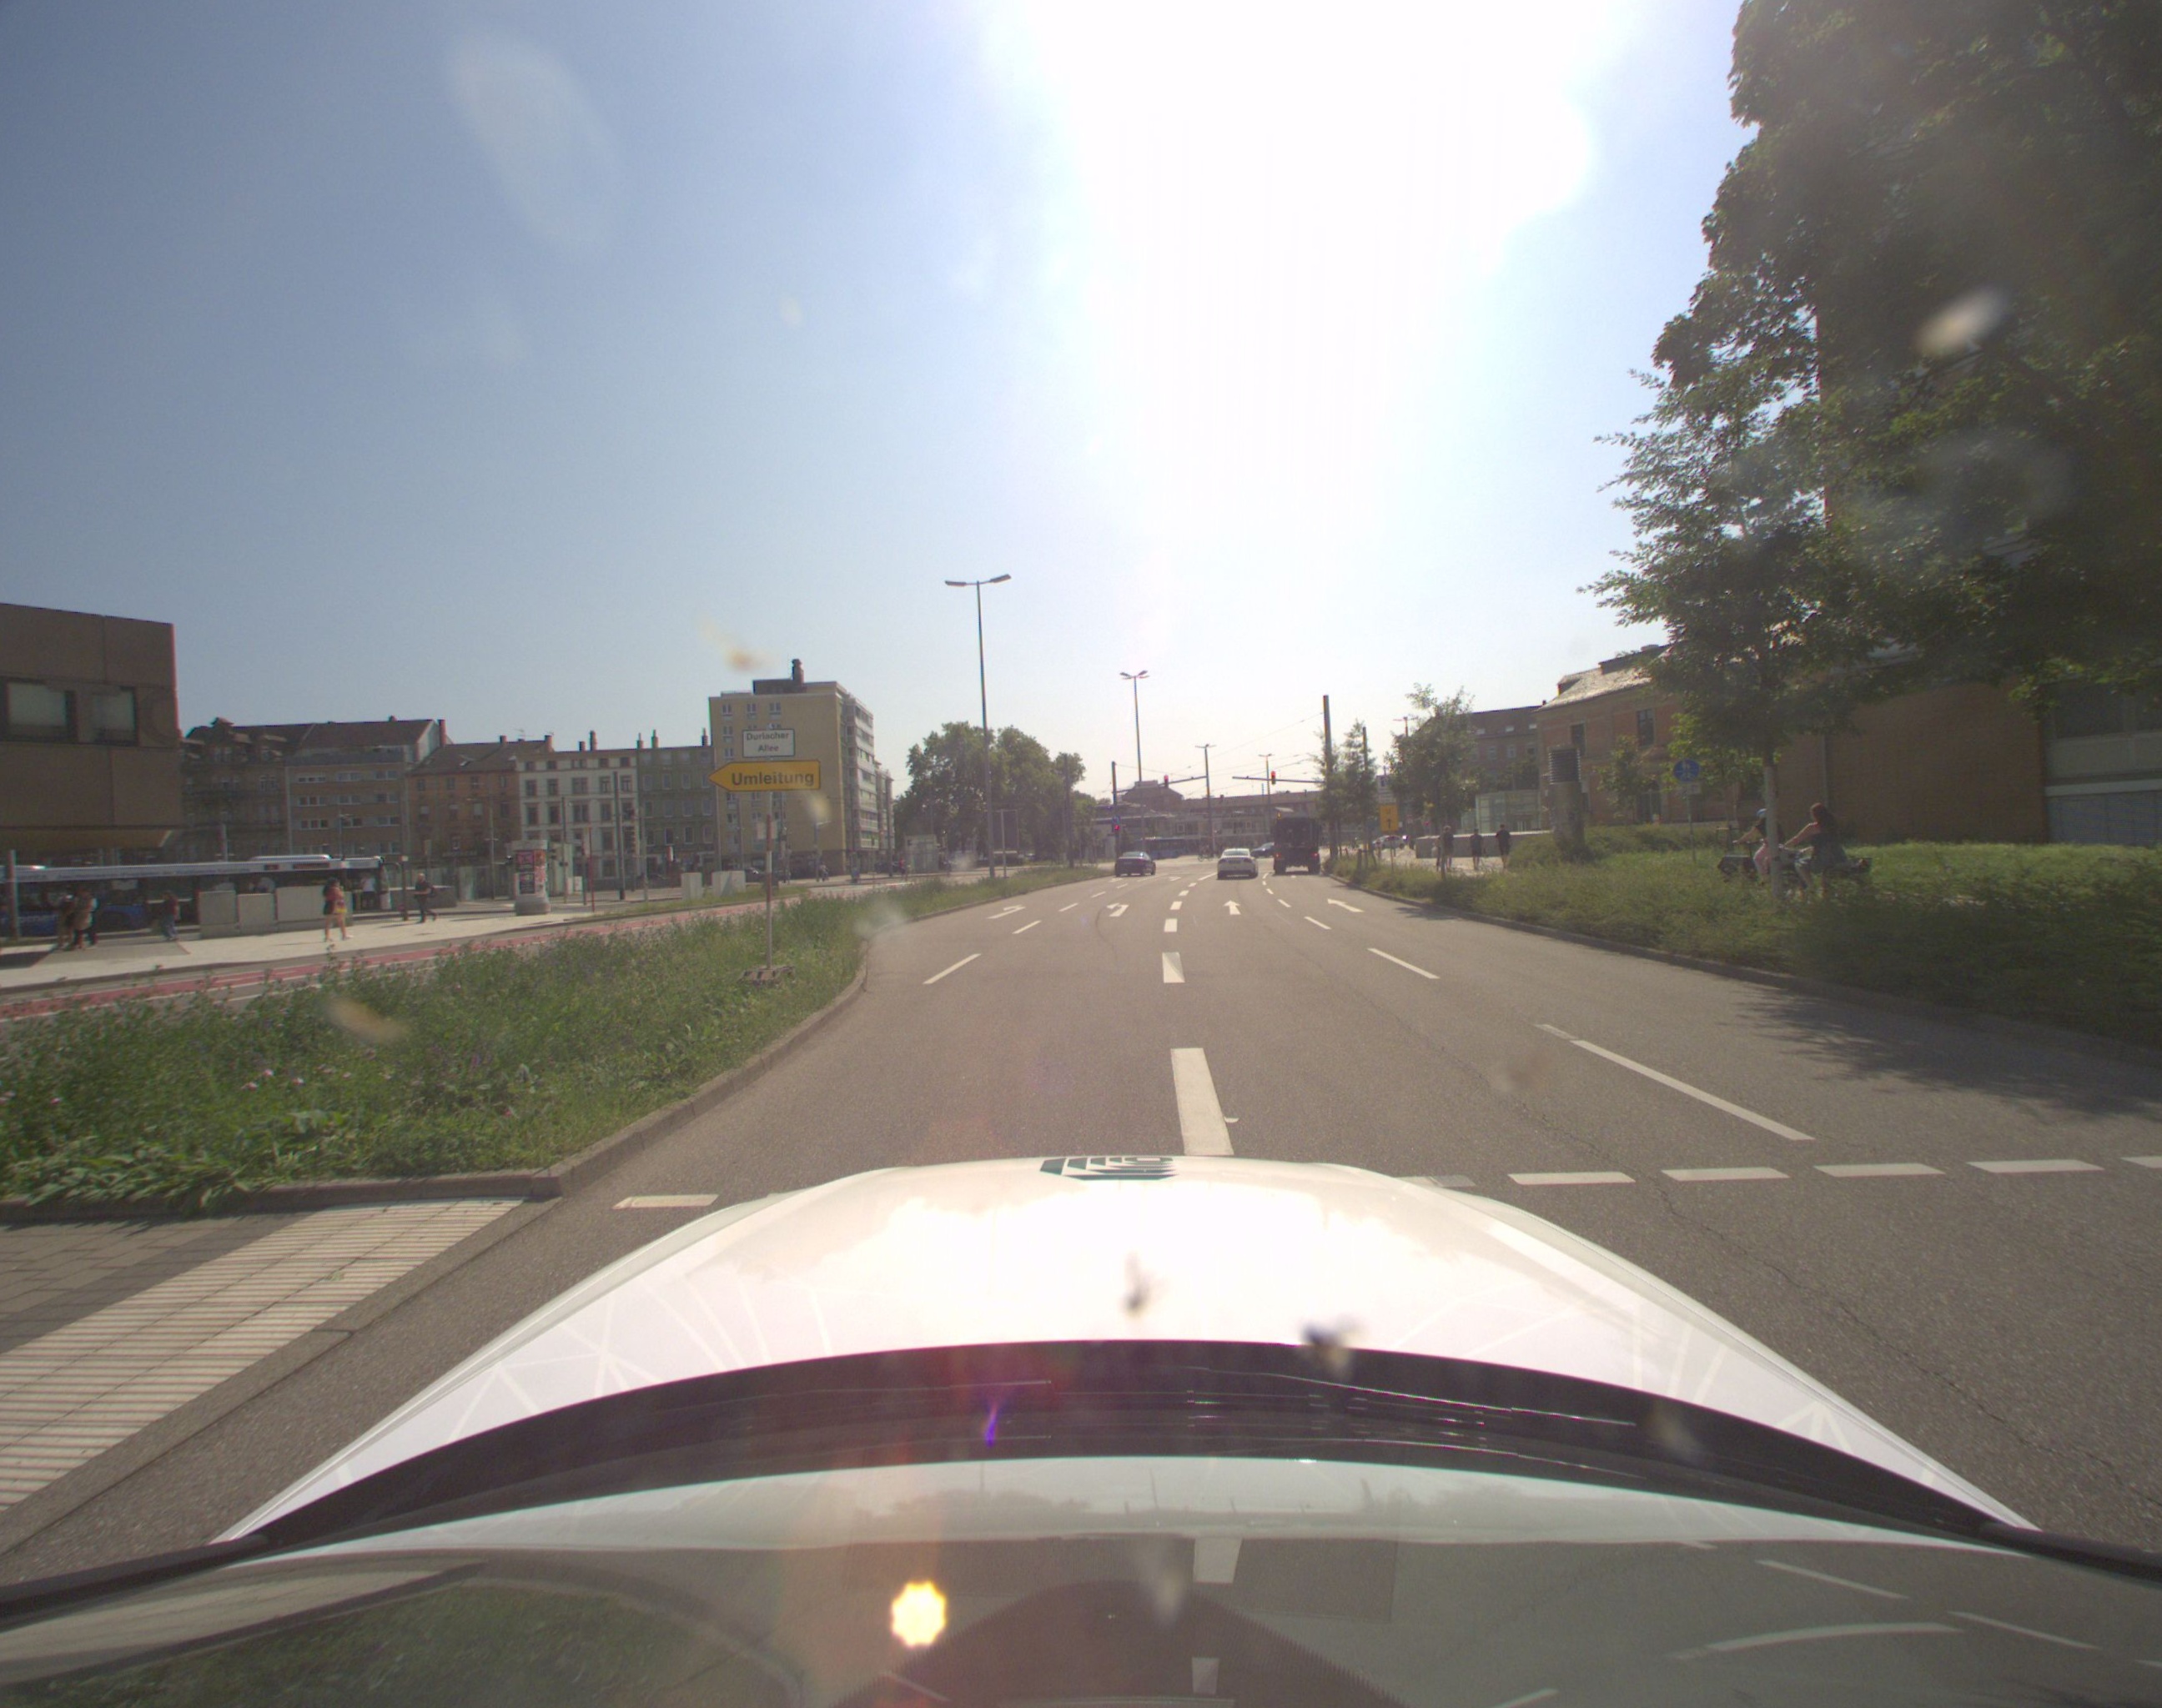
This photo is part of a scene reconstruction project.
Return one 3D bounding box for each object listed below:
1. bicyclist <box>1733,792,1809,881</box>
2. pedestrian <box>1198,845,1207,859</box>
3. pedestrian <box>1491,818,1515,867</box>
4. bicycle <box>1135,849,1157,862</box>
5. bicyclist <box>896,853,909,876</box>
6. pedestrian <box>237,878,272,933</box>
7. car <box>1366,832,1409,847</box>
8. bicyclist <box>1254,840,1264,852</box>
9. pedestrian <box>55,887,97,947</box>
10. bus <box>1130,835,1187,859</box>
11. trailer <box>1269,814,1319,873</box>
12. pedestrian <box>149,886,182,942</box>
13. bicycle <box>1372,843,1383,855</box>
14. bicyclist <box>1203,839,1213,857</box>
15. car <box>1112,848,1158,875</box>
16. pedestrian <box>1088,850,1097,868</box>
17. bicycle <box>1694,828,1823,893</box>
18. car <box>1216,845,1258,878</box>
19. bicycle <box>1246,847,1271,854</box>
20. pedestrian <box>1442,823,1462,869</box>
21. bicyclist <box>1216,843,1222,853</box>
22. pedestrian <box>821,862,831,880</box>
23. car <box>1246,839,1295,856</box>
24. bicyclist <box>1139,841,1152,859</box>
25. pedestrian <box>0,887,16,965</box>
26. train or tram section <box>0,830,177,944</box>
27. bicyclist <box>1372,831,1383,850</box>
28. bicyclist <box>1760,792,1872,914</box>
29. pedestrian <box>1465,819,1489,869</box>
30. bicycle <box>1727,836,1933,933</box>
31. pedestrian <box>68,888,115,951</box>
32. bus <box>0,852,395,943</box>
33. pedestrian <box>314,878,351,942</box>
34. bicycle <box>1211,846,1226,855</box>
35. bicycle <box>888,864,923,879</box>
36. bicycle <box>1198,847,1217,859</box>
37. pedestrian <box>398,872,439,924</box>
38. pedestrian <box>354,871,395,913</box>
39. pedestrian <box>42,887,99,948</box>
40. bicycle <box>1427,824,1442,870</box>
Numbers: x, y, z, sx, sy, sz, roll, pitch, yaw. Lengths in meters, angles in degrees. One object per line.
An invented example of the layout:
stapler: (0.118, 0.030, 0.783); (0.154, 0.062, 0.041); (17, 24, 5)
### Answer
bicyclist: (12.256, -0.307, 14.489); (0.547, 1.496, 0.803); (-5, 0, -3)
pedestrian: (15.322, -0.245, 102.468); (0.776, 1.752, 0.814); (-3, 0, 29)
pedestrian: (17.219, -0.474, 33.237); (0.770, 1.973, 0.758); (-3, 0, 28)
bicycle: (6.042, 0.126, 76.437); (0.975, 1.178, 2.813); (-3, 0, -19)
bicyclist: (-13.160, 0.763, 60.075); (0.837, 1.642, 0.606); (-3, 0, -4)
pedestrian: (-27.181, 1.696, 26.779); (0.688, 1.763, 0.554); (-3, 0, 27)
car: (33.720, -1.596, 89.577); (4.056, 1.425, 1.769); (-3, 0, -12)
bicyclist: (22.082, -1.012, 101.107); (0.902, 1.501, 0.863); (-3, 0, -5)
pedestrian: (-27.686, 1.723, 22.444); (0.511, 1.614, 0.487); (-3, 0, -27)
bus: (10.930, -1.069, 112.723); (3.024, 2.931, 11.928); (-3, 0, 30)
trailer: (11.891, -0.609, 45.469); (2.445, 3.007, 6.351); (-1, 1, 15)
pedestrian: (-27.656, 1.803, 24.598); (0.485, 1.614, 0.575); (-3, 0, 37)
bicycle: (20.890, -0.383, 57.317); (0.669, 0.776, 2.138); (-3, 0, 19)
bicyclist: (12.549, -0.591, 80.618); (0.623, 1.650, 0.684); (-3, 0, -44)
car: (3.178, 0.385, 47.247); (1.744, 1.404, 3.999); (-2, 1, 18)
pedestrian: (0.825, 0.365, 58.069); (0.595, 1.268, 0.504); (-3, 2, -5)
bicycle: (12.274, 0.107, 14.841); (0.555, 1.060, 2.002); (-4, 0, -3)
car: (7.857, 0.340, 40.731); (1.745, 1.455, 4.443); (-2, 1, 14)
bicycle: (22.055, -0.430, 101.109); (2.930, 0.727, 0.863); (-3, 0, -6)
pedestrian: (15.365, -0.352, 33.734); (0.654, 1.860, 0.798); (-3, 0, 25)
bicyclist: (16.705, -0.748, 98.774); (0.498, 1.188, 0.510); (-3, 0, 30)
pedestrian: (-24.081, 1.613, 76.818); (0.647, 1.632, 0.813); (-3, 0, -3)
car: (19.093, -0.655, 82.027); (4.573, 1.438, 1.983); (-3, 0, -26)
bicyclist: (6.049, -0.378, 76.340); (0.975, 1.654, 0.658); (-3, 0, -20)
pedestrian: (-23.943, 1.582, 17.692); (0.749, 1.688, 0.627); (-3, 0, -29)
train or tram section: (-36.441, 1.239, 27.057); (3.104, 3.569, 8.298); (-5, 0, 40)
bicyclist: (20.829, -0.929, 57.227); (0.669, 1.320, 0.687); (-3, 0, 19)
bicyclist: (10.255, -0.014, 11.399); (0.687, 1.598, 0.844); (-5, 0, 2)
pedestrian: (16.196, -0.416, 33.297); (0.770, 1.973, 0.758); (-3, 0, 28)
bicycle: (10.290, 0.378, 11.357); (0.691, 1.155, 2.373); (-5, 0, 3)
pedestrian: (-26.508, 1.732, 21.830); (0.697, 1.614, 0.631); (-3, 0, -45)
bus: (-38.665, 1.720, 35.842); (3.067, 3.070, 12.562); (-3, 0, 40)
pedestrian: (-20.812, 1.536, 22.645); (0.630, 1.702, 0.779); (0, -1, -33)
bicycle: (16.676, -0.411, 98.799); (1.575, 0.985, 0.510); (-3, 0, 30)
bicycle: (-12.956, 1.303, 60.077); (2.404, 0.953, 0.603); (-3, 0, -5)
bicycle: (12.530, -0.090, 80.571); (2.056, 1.136, 0.690); (-3, 0, -44)
pedestrian: (-22.752, 1.502, 27.972); (0.642, 1.702, 0.810); (-3, 0, 2)
pedestrian: (-33.640, 1.796, 38.782); (1.025, 1.886, 1.319); (-4, -1, 42)
pedestrian: (-28.958, 1.801, 23.351); (0.546, 1.669, 0.811); (-3, 0, 7)
bicycle: (14.719, -0.310, 33.861); (0.451, 1.860, 1.371); (-3, 0, 25)
